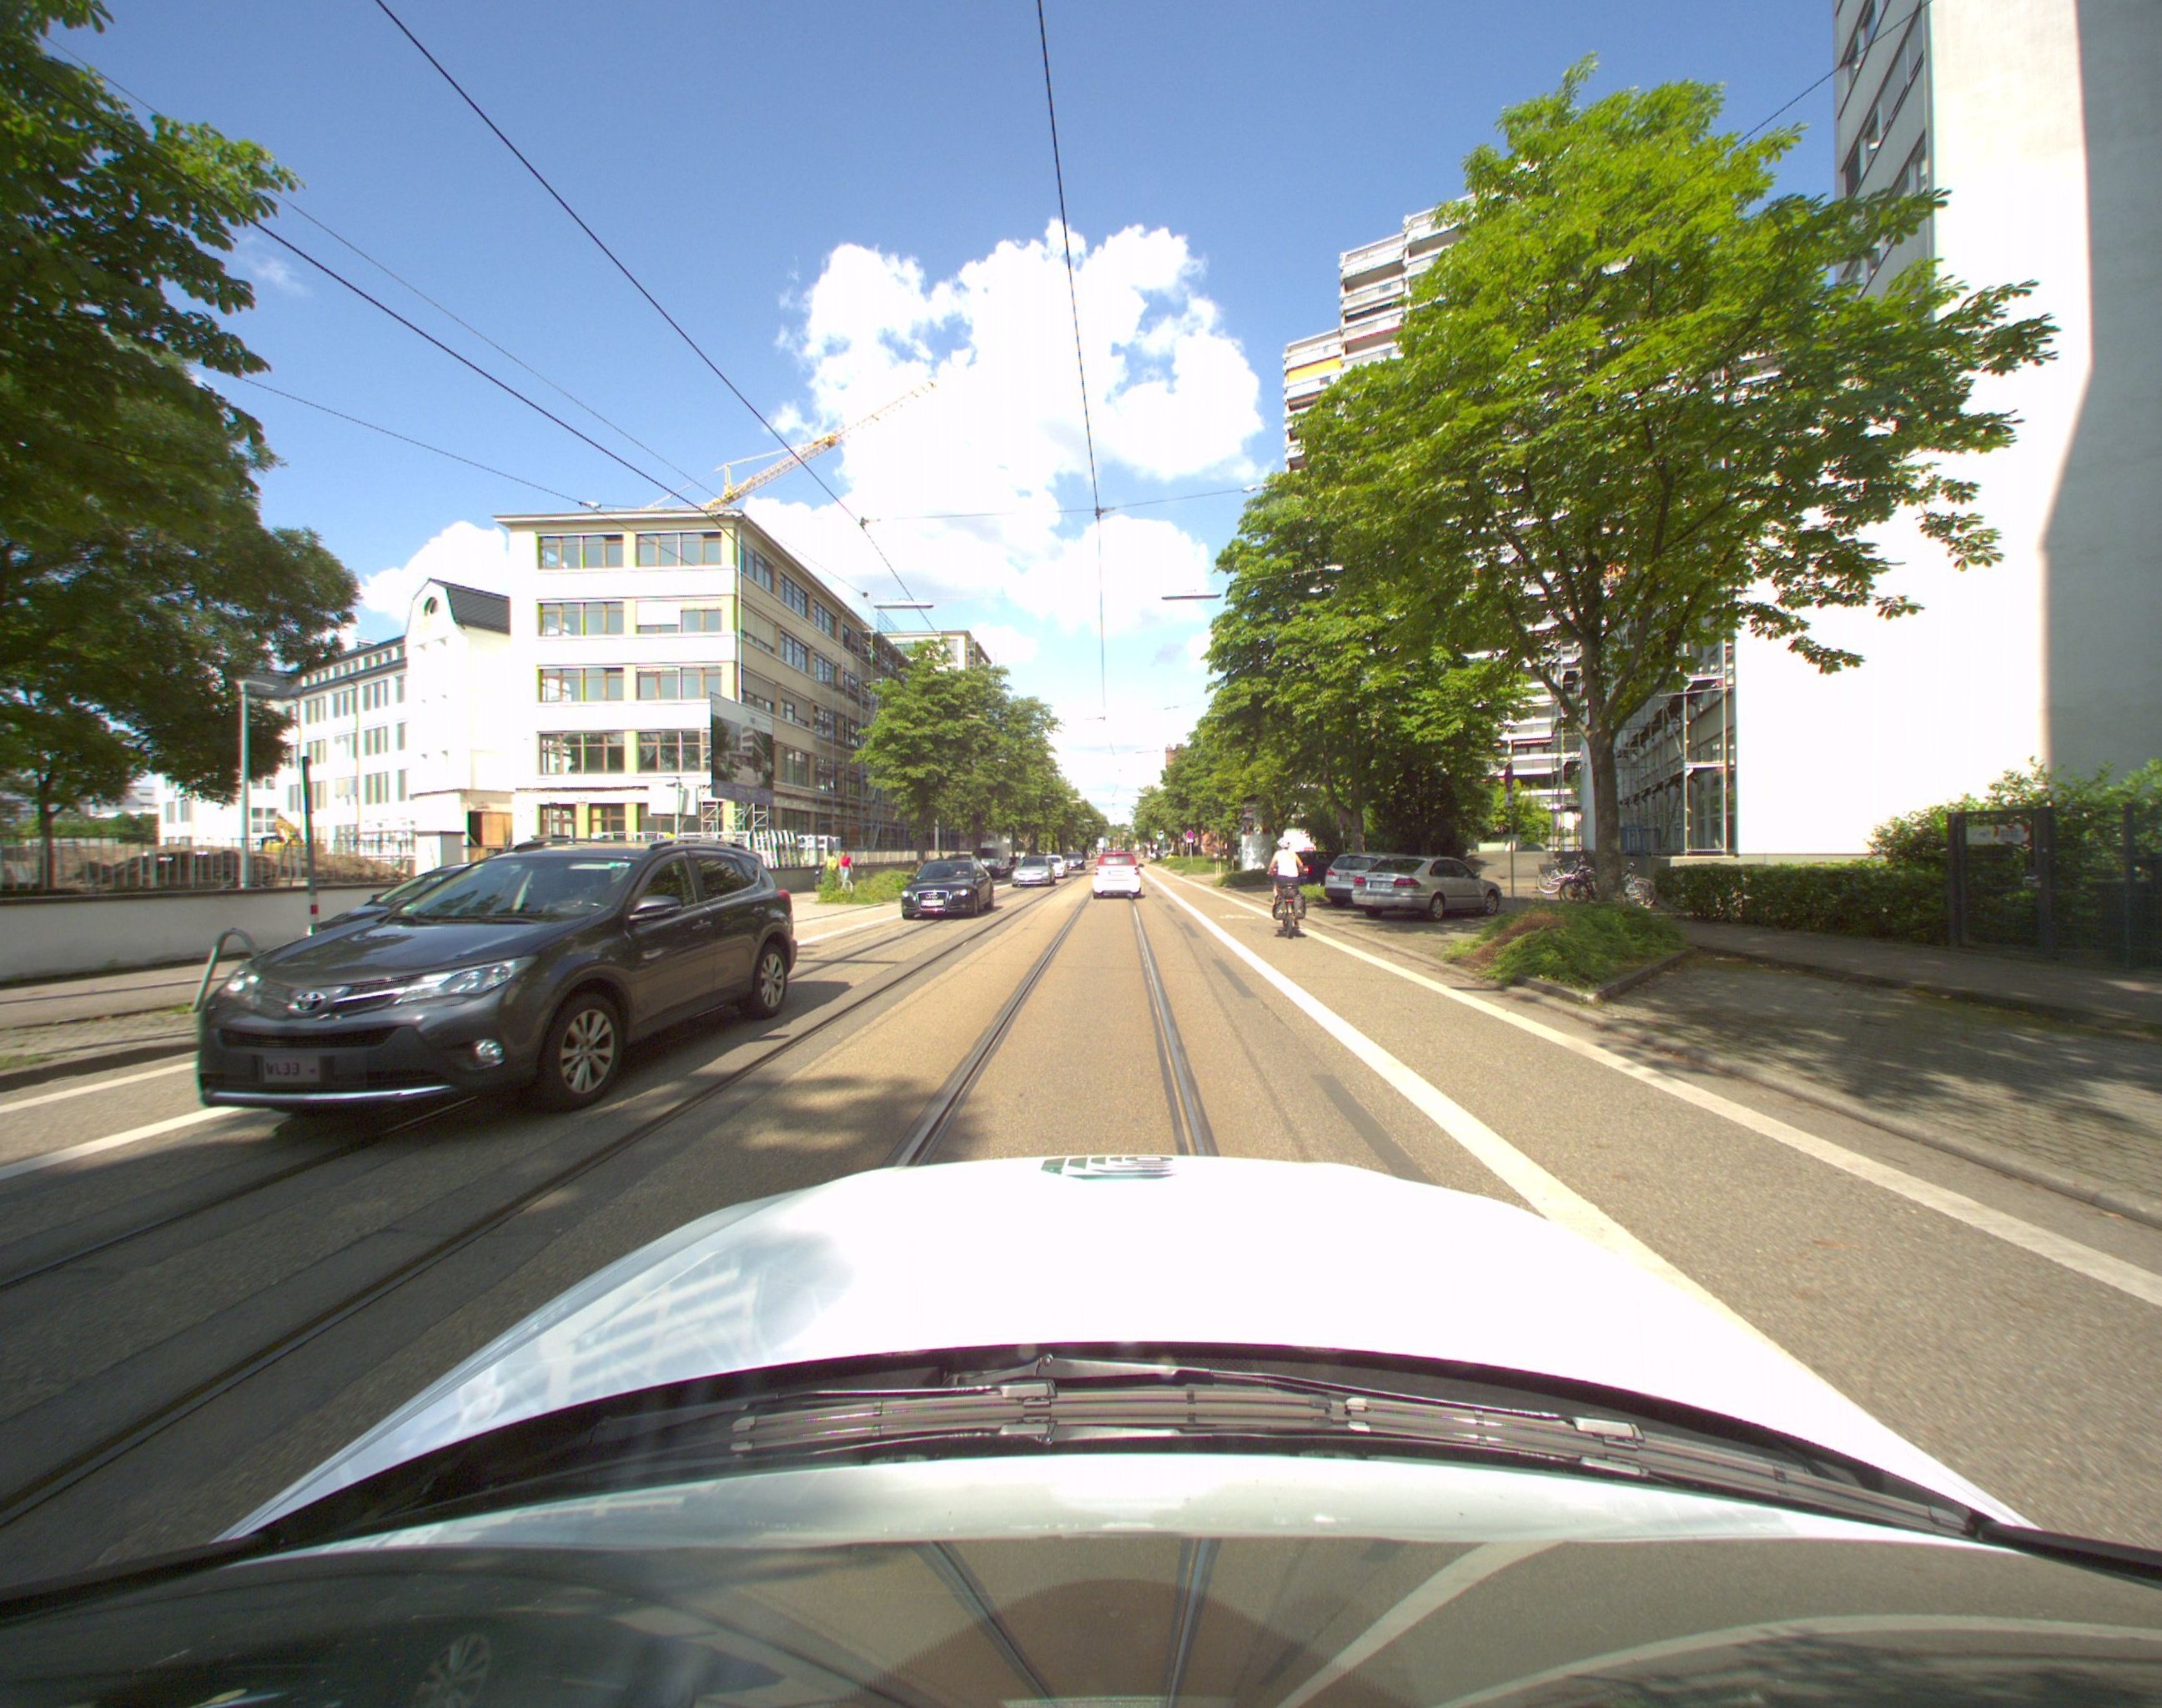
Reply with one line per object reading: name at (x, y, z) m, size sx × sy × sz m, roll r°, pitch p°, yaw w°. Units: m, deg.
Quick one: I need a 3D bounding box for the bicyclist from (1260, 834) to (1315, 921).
bicyclist at (3.804, 0.417, 15.079) m, size 0.885 × 1.529 × 1.087 m, roll 1°, pitch 0°, yaw 8°

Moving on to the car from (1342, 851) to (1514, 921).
car at (8.091, 0.659, 18.857) m, size 4.261 × 1.420 × 1.705 m, roll -1°, pitch 1°, yaw -36°

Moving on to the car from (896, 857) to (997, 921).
car at (-3.279, 0.811, 20.537) m, size 1.716 × 1.376 × 4.001 m, roll -3°, pitch 0°, yaw 1°

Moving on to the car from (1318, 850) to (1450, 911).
car at (8.225, 0.658, 21.968) m, size 3.824 × 1.474 × 1.634 m, roll 0°, pitch 1°, yaw -39°

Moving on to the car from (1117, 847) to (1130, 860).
car at (5.514, -0.110, 106.833) m, size 1.659 × 1.624 × 3.623 m, roll 1°, pitch 0°, yaw 2°

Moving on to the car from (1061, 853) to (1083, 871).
car at (-0.773, 0.705, 72.649) m, size 1.793 × 1.508 × 4.538 m, roll 0°, pitch 0°, yaw 2°

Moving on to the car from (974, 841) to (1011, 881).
car at (-6.062, 0.454, 56.296) m, size 1.762 × 2.639 × 5.325 m, roll 1°, pitch 0°, yaw 2°

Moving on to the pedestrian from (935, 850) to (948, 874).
pedestrian at (-9.623, 0.570, 56.128) m, size 0.761 × 1.620 × 0.594 m, roll 1°, pitch -1°, yaw 2°

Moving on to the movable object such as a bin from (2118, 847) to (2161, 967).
movable object such as a bin at (12.584, 0.597, 8.774) m, size 1.270 × 1.336 × 1.237 m, roll 1°, pitch 0°, yaw 1°

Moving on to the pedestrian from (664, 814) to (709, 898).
pedestrian at (-7.941, 0.041, 16.377) m, size 0.730 × 1.637 × 0.685 m, roll 1°, pitch -1°, yaw -32°

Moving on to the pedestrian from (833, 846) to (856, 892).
pedestrian at (-9.660, 0.592, 33.256) m, size 0.706 × 1.831 × 0.661 m, roll 3°, pitch 1°, yaw -3°

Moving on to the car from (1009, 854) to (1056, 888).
car at (-2.227, 0.776, 38.333) m, size 1.766 × 1.416 × 3.853 m, roll -3°, pitch 0°, yaw 2°

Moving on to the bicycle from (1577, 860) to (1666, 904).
bicycle at (14.067, 0.730, 21.241) m, size 1.877 × 1.096 × 0.454 m, roll -2°, pitch 0°, yaw 33°

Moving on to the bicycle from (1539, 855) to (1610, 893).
bicycle at (15.072, 0.616, 24.897) m, size 1.809 × 1.095 × 0.454 m, roll -2°, pitch 2°, yaw 33°

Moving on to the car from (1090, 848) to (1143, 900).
car at (1.187, 0.620, 27.854) m, size 1.659 × 1.624 × 3.622 m, roll -1°, pitch 0°, yaw 2°

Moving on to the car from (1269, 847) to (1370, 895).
car at (8.446, 0.568, 28.682) m, size 4.023 × 1.486 × 1.596 m, roll -2°, pitch 0°, yaw -44°

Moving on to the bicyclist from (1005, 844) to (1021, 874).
bicyclist at (-4.602, 0.332, 54.980) m, size 0.873 × 2.014 × 0.834 m, roll -3°, pitch -1°, yaw 1°

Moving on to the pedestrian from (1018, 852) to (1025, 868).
pedestrian at (-7.499, 0.755, 103.050) m, size 0.802 × 2.013 × 0.484 m, roll 0°, pitch 0°, yaw -7°

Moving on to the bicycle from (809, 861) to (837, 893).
bicycle at (-10.528, 0.921, 33.262) m, size 0.444 × 1.286 × 1.740 m, roll -1°, pitch 0°, yaw 5°

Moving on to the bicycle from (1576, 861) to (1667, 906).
bicycle at (13.791, 0.756, 20.819) m, size 1.877 × 1.096 × 0.454 m, roll -2°, pitch 0°, yaw 33°

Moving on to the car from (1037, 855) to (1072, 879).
car at (-1.594, 0.766, 50.672) m, size 1.679 × 1.405 × 4.232 m, roll -1°, pitch 0°, yaw 4°

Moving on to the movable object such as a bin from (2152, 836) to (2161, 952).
movable object such as a bin at (14.176, 0.527, 9.813) m, size 1.252 × 1.480 × 0.943 m, roll 1°, pitch 1°, yaw 29°

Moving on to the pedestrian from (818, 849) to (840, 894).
pedestrian at (-10.286, 0.705, 33.272) m, size 0.706 × 1.793 × 0.661 m, roll 1°, pitch -1°, yaw -3°

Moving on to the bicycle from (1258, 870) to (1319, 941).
bicycle at (3.772, 0.900, 14.965) m, size 0.870 × 1.126 × 2.141 m, roll 1°, pitch 1°, yaw 8°

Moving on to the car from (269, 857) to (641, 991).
car at (-8.387, 0.812, 11.604) m, size 1.744 × 1.516 × 4.591 m, roll 1°, pitch 0°, yaw -1°

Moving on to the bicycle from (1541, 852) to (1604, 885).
bicycle at (16.857, 0.491, 27.963) m, size 1.809 × 1.096 × 0.454 m, roll -1°, pitch 0°, yaw 33°

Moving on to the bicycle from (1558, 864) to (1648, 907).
bicycle at (13.198, 0.799, 20.634) m, size 1.877 × 1.053 × 0.454 m, roll -2°, pitch 0°, yaw 33°

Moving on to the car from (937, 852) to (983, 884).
car at (-6.714, 0.753, 45.631) m, size 1.797 × 1.662 × 4.105 m, roll 1°, pitch 0°, yaw 3°

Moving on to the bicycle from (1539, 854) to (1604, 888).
bicycle at (16.211, 0.550, 26.952) m, size 1.809 × 1.096 × 0.454 m, roll -1°, pitch 1°, yaw 33°

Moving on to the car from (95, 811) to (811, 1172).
car at (-3.767, 0.650, 6.123) m, size 1.818 × 1.727 × 4.394 m, roll -1°, pitch 0°, yaw 2°

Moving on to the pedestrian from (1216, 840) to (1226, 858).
pedestrian at (15.995, -0.541, 92.881) m, size 0.973 × 2.014 × 1.093 m, roll 1°, pitch -1°, yaw 1°
